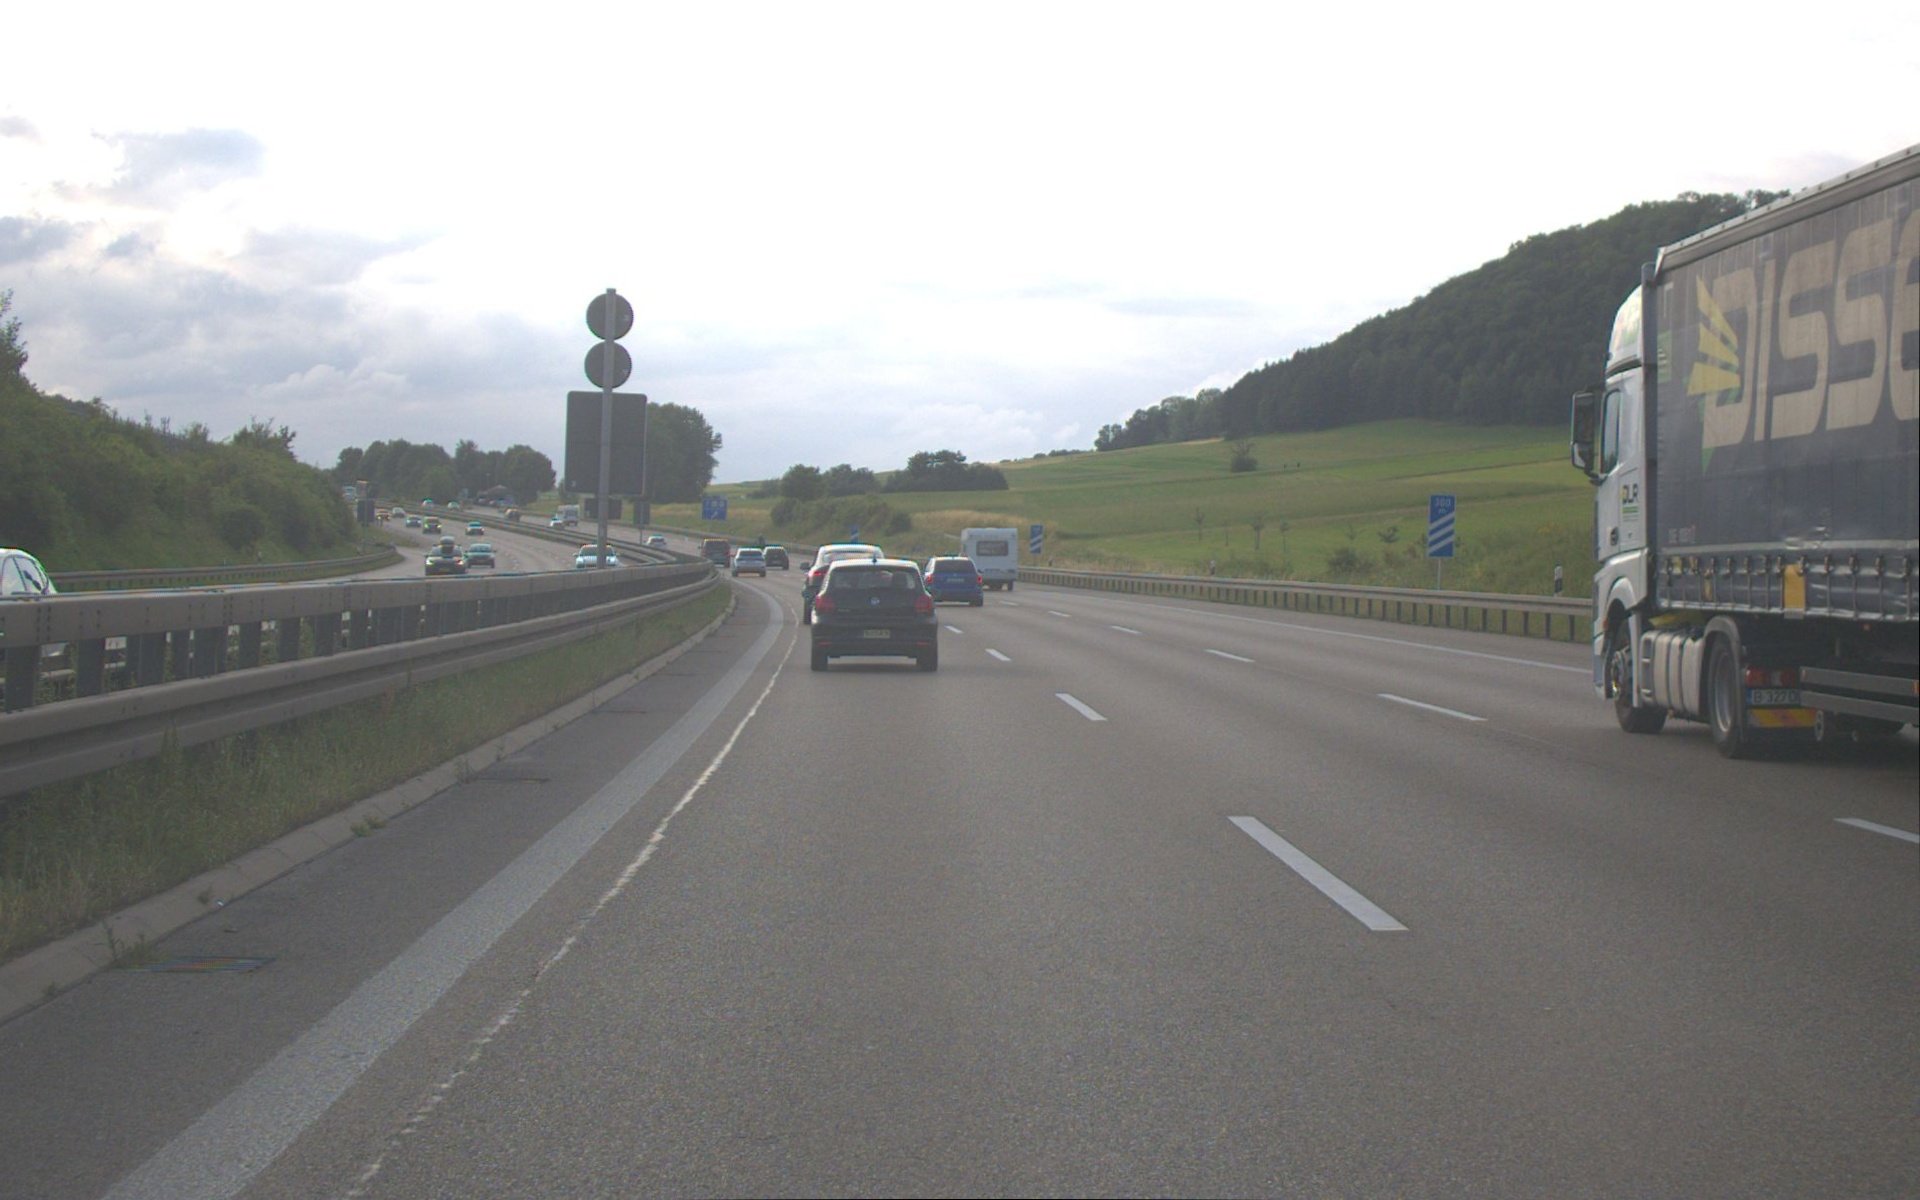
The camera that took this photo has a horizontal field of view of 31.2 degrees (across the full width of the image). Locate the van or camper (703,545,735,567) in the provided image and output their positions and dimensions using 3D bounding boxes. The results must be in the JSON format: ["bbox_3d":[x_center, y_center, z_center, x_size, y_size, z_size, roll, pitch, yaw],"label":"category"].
[{"bbox_3d":[-15.922,-2.900,227.308,1.966,1.428,4.001,1,1,-3],"label":"van or camper"}]

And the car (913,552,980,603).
[{"bbox_3d":[-0.416,-0.664,99.916,1.766,1.428,4.000,1,1,-3],"label":"car"}]

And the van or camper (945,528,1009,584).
[{"bbox_3d":[0.689,-1.789,140.544,2.548,2.232,5.329,1,1,1],"label":"van or camper"}]

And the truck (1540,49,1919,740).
[{"bbox_3d":[6.956,-1.213,22.502,2.964,3.978,17.733,1,1,-1],"label":"truck"}]

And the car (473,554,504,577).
[{"bbox_3d":[-29.413,-2.135,214.532,1.706,1.410,4.001,1,1,-5],"label":"car"}]

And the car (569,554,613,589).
[{"bbox_3d":[-17.293,-1.336,161.254,1.832,1.586,5.020,1,0,-4],"label":"car"}]

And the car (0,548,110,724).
[{"bbox_3d":[-8.547,0.259,29.026,1.780,1.404,3.762,1,1,0],"label":"car"}]

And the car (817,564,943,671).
[{"bbox_3d":[-1.028,0.206,45.637,1.538,1.343,3.677,1,1,1],"label":"car"}]

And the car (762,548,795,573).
[{"bbox_3d":[-11.755,-2.547,222.518,1.957,1.568,4.000,1,1,0],"label":"car"}]

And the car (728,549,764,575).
[{"bbox_3d":[-11.753,-2.096,188.583,1.766,1.428,4.001,1,1,-6],"label":"car"}]
